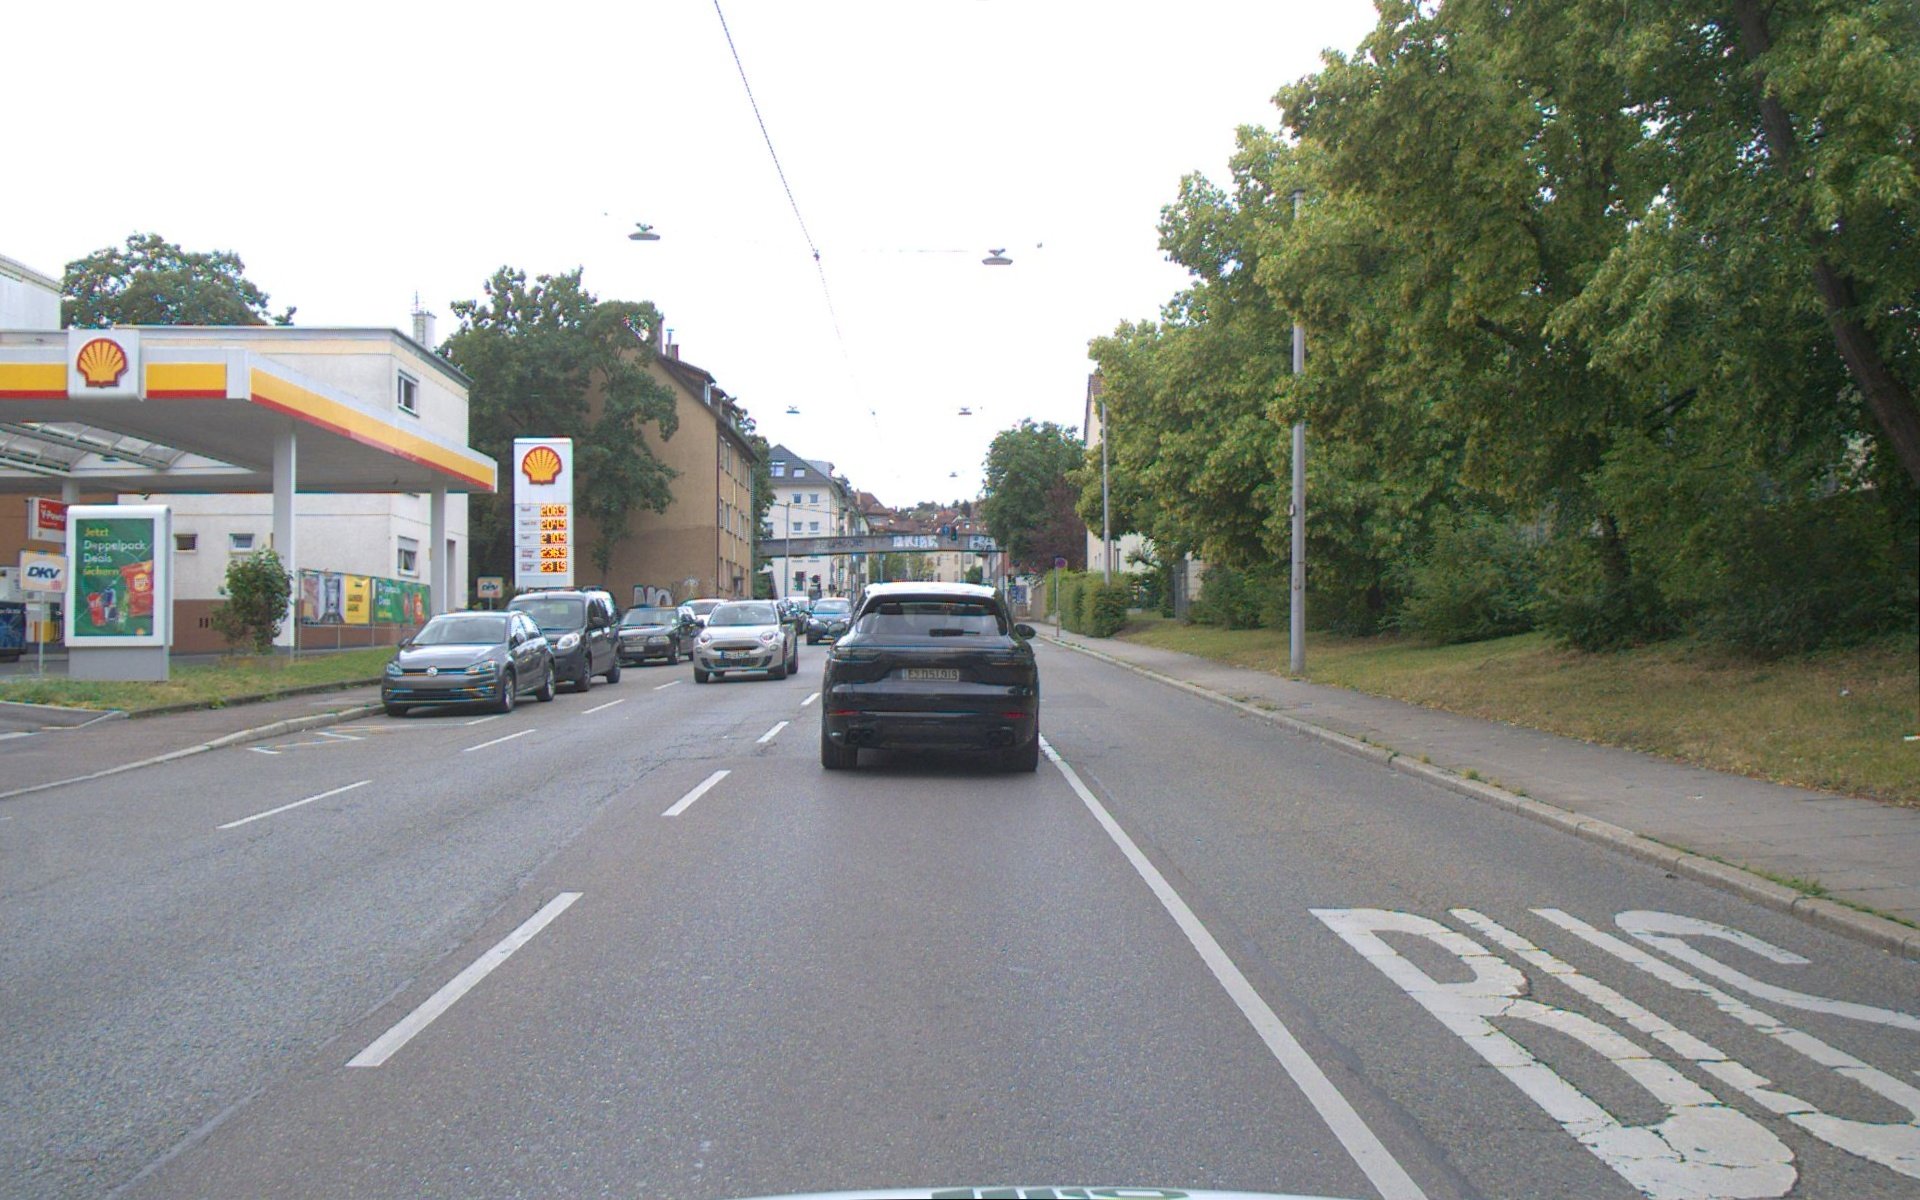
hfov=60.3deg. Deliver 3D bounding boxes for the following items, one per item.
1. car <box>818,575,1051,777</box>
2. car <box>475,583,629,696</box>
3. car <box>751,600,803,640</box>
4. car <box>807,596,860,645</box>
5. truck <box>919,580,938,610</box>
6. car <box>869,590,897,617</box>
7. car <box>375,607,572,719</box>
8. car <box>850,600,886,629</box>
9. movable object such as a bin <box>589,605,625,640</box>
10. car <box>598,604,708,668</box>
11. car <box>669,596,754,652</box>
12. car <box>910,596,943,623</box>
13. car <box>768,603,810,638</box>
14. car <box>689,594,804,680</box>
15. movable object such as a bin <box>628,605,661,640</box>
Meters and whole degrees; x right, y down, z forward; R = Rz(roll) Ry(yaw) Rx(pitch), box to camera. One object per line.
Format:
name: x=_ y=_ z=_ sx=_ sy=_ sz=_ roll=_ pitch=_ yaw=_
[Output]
car: x=-0.228 y=0.617 z=15.854 sx=1.953 sy=1.691 sz=4.000 roll=0 pitch=0 yaw=-1
car: x=-7.396 y=0.672 z=30.449 sx=1.814 sy=1.867 sz=4.699 roll=-2 pitch=0 yaw=-3
car: x=-8.005 y=0.844 z=72.693 sx=1.746 sy=1.637 sz=4.264 roll=-3 pitch=0 yaw=0
car: x=-4.385 y=0.697 z=57.678 sx=1.649 sy=1.582 sz=3.717 roll=-2 pitch=0 yaw=-2
truck: x=-3.719 y=-0.551 z=195.527 sx=2.221 sy=3.484 sz=9.875 roll=-1 pitch=0 yaw=-1
car: x=-5.577 y=0.256 z=120.048 sx=1.892 sy=1.934 sz=4.588 roll=-1 pitch=0 yaw=-1
car: x=-7.228 y=0.877 z=25.001 sx=1.754 sy=1.475 sz=4.217 roll=-2 pitch=0 yaw=-1
car: x=-5.015 y=0.772 z=90.820 sx=1.741 sy=1.492 sz=4.498 roll=-1 pitch=0 yaw=0
movable object such as a bin: x=-15.069 y=0.956 z=70.596 sx=1.365 sy=1.453 sz=0.912 roll=0 pitch=0 yaw=-3
car: x=-7.686 y=0.859 z=41.845 sx=1.760 sy=1.456 sz=4.744 roll=-2 pitch=0 yaw=1
car: x=-7.569 y=0.711 z=50.835 sx=1.876 sy=1.605 sz=4.699 roll=-1 pitch=0 yaw=0
car: x=-1.774 y=0.488 z=88.138 sx=1.706 sy=1.424 sz=4.000 roll=0 pitch=1 yaw=-1
car: x=-8.107 y=0.963 z=78.648 sx=1.716 sy=1.557 sz=4.097 roll=-2 pitch=0 yaw=-3
car: x=-4.162 y=0.685 z=32.771 sx=1.761 sy=1.551 sz=3.999 roll=-2 pitch=0 yaw=-1
movable object such as a bin: x=-13.421 y=0.955 z=70.383 sx=1.256 sy=1.453 sz=1.278 roll=0 pitch=0 yaw=-5
